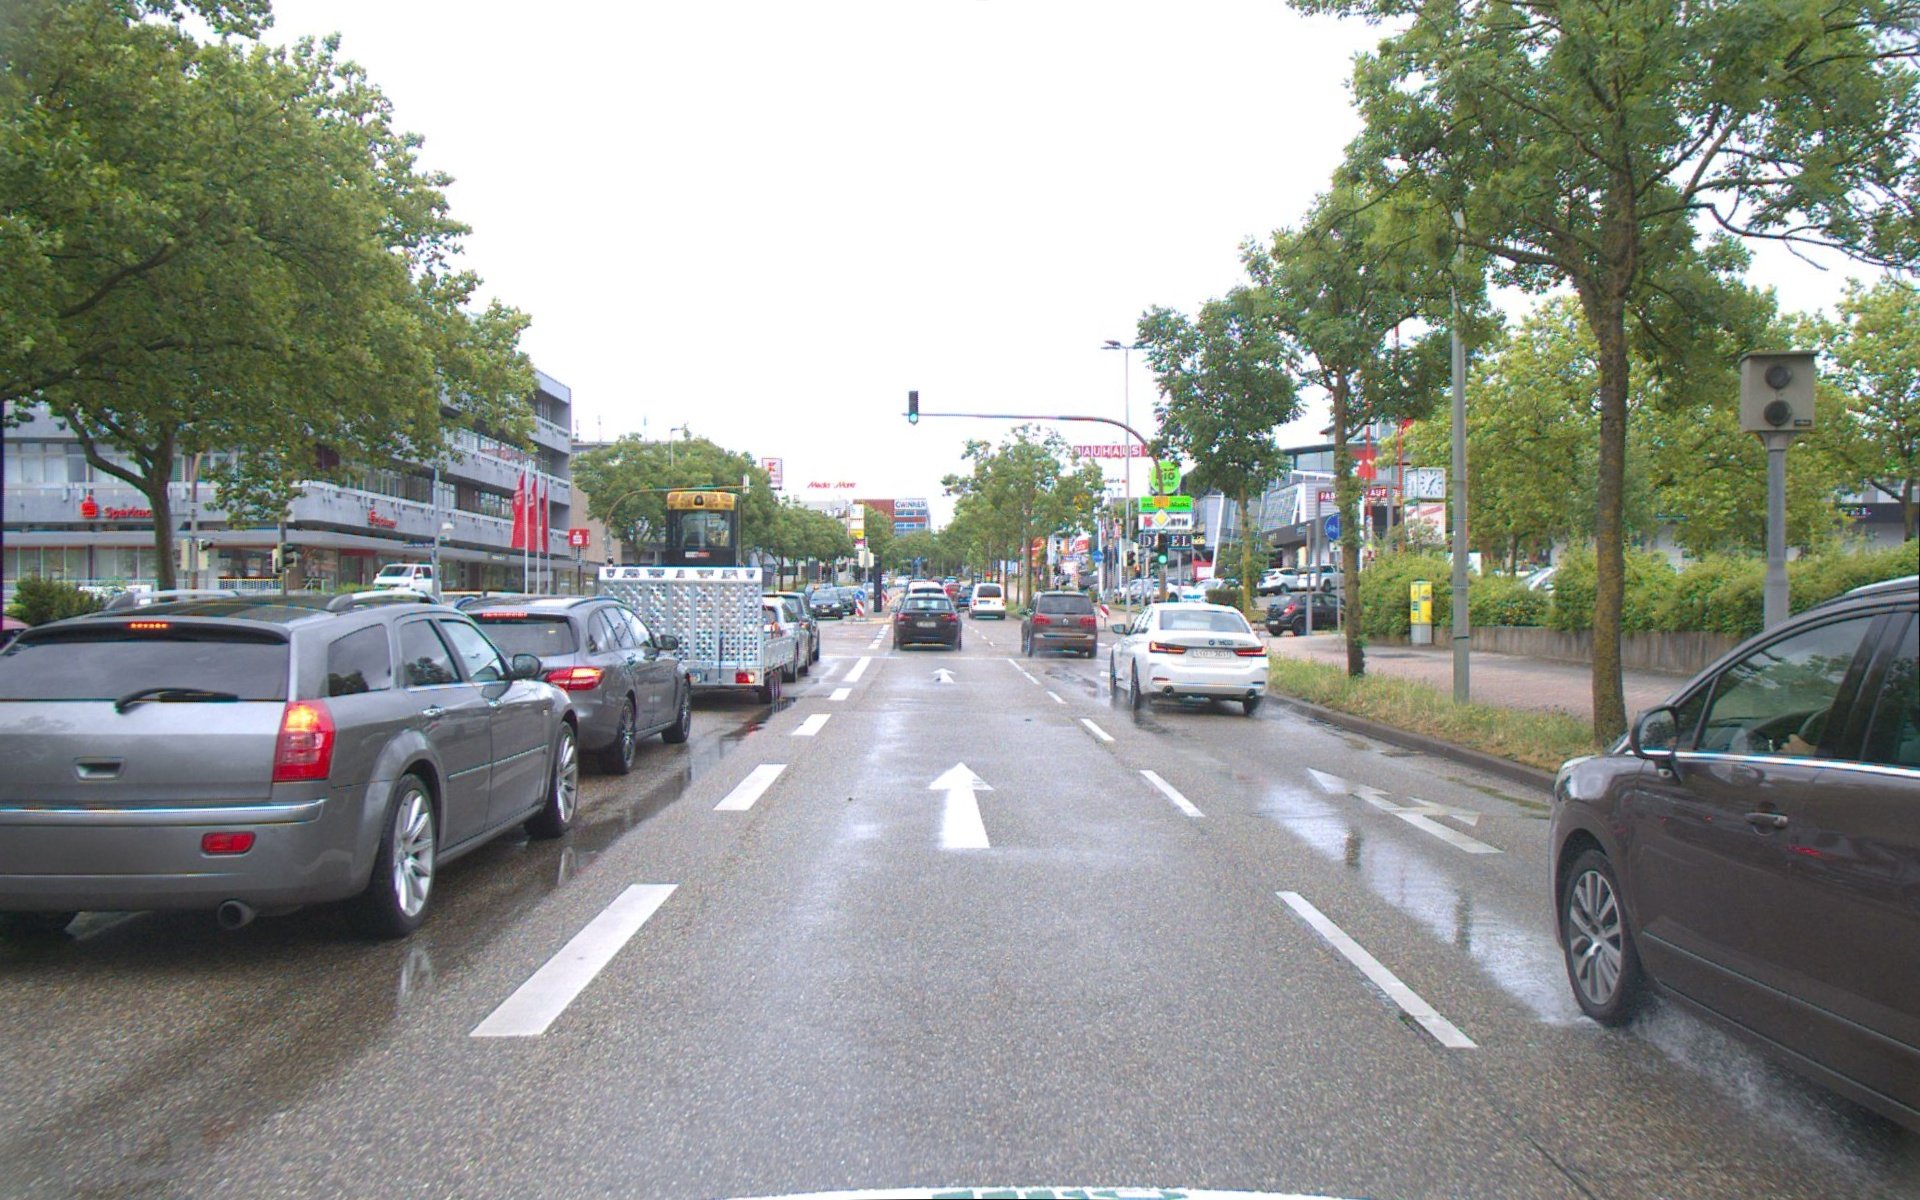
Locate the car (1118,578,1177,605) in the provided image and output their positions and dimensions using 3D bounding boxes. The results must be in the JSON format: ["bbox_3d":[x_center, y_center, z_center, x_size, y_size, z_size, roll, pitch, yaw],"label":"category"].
[{"bbox_3d":[11.542,-0.535,101.798,3.566,1.563,1.619,-1,0,-41],"label":"car"}]

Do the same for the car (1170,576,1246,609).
[{"bbox_3d":[12.624,-0.397,84.112,1.896,1.604,4.265,-1,0,40],"label":"car"}]

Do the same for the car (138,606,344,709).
[{"bbox_3d":[-11.529,0.864,26.813,1.675,1.490,4.083,-1,0,-2],"label":"car"}]

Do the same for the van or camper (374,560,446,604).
[{"bbox_3d":[-26.696,-0.840,80.477,1.953,2.001,4.787,1,-1,-1],"label":"van or camper"}]

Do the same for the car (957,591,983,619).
[{"bbox_3d":[0.655,0.337,108.314,1.650,1.713,3.402,1,-1,0],"label":"car"}]

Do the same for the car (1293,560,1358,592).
[{"bbox_3d":[21.111,-1.378,95.467,4.123,1.802,1.710,-1,0,-44],"label":"car"}]

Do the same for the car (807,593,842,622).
[{"bbox_3d":[-6.657,0.351,81.432,1.649,1.401,3.996,-1,0,-4],"label":"car"}]

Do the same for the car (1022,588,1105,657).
[{"bbox_3d":[2.571,0.528,41.885,1.764,1.615,4.450,1,0,0],"label":"car"}]

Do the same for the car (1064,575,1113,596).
[{"bbox_3d":[10.796,-1.192,138.693,4.024,1.733,1.801,0,1,5],"label":"car"}]

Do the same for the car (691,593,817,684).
[{"bbox_3d":[-3.620,0.638,29.820,1.729,1.484,4.779,-1,0,-1],"label":"car"}]

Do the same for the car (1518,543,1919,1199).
[{"bbox_3d":[3.156,0.680,4.529,1.691,1.653,4.470,-1,0,-1],"label":"car"}]

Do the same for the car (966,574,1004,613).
[{"bbox_3d":[1.253,-0.329,84.910,1.746,1.899,3.999,-1,0,-2],"label":"car"}]

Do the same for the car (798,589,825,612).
[{"bbox_3d":[-10.862,0.053,121.116,1.873,1.636,4.359,-1,0,-4],"label":"car"}]

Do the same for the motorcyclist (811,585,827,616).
[{"bbox_3d":[-7.321,0.010,86.026,0.790,1.586,1.267,0,1,-3],"label":"motorcyclist"}]

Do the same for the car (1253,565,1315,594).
[{"bbox_3d":[20.617,-1.321,105.128,4.117,1.802,1.712,-1,0,-41],"label":"car"}]

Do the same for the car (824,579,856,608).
[{"bbox_3d":[-6.567,-0.324,90.338,1.710,1.515,4.824,-1,-1,-4],"label":"car"}]

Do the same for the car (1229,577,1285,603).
[{"bbox_3d":[20.074,-0.688,111.792,3.940,1.750,1.610,-1,0,-41],"label":"car"}]

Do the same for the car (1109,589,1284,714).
[{"bbox_3d":[3.248,0.661,23.542,1.764,1.571,4.619,1,0,0],"label":"car"}]

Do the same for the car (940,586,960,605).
[{"bbox_3d":[-0.821,-0.369,137.579,1.660,1.468,3.989,-1,0,0],"label":"car"}]

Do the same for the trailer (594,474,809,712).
[{"bbox_3d":[-3.489,-0.091,23.497,2.325,2.947,5.543,-1,0,-2],"label":"trailer"}]

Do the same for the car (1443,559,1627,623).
[{"bbox_3d":[13.952,-0.226,40.247,3.904,1.467,1.655,-1,0,1],"label":"car"}]

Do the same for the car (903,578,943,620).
[{"bbox_3d":[-1.854,-0.044,84.261,1.953,2.049,3.999,1,-1,-1],"label":"car"}]

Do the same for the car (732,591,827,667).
[{"bbox_3d":[-3.843,0.577,35.770,1.679,1.515,4.076,-1,0,-1],"label":"car"}]

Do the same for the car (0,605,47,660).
[{"bbox_3d":[-24.924,0.836,40.926,3.668,1.317,1.688,-2,0,-6],"label":"car"}]

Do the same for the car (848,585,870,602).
[{"bbox_3d":[-8.986,-0.595,147.577,1.688,1.422,4.788,-3,0,-1],"label":"car"}]

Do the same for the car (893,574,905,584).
[{"bbox_3d":[-9.096,-3.128,246.776,1.904,1.474,3.998,0,0,-2],"label":"car"}]

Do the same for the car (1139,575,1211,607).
[{"bbox_3d":[12.512,-0.517,96.071,3.991,1.691,1.953,-4,2,-41],"label":"car"}]

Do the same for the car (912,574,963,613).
[{"bbox_3d":[-0.878,-0.237,61.641,1.649,1.401,3.996,-1,0,-4],"label":"car"}]

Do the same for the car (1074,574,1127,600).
[{"bbox_3d":[11.120,-1.027,131.291,4.026,1.938,1.800,-1,0,0],"label":"car"}]

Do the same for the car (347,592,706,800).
[{"bbox_3d":[-3.620,0.715,14.754,1.953,1.454,4.554,-2,1,0],"label":"car"}]

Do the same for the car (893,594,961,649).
[{"bbox_3d":[-0.903,0.546,44.615,1.745,1.422,3.999,0,0,-2],"label":"car"}]

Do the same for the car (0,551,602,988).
[{"bbox_3d":[-3.315,0.634,8.611,1.868,1.606,4.879,-1,0,-1],"label":"car"}]
